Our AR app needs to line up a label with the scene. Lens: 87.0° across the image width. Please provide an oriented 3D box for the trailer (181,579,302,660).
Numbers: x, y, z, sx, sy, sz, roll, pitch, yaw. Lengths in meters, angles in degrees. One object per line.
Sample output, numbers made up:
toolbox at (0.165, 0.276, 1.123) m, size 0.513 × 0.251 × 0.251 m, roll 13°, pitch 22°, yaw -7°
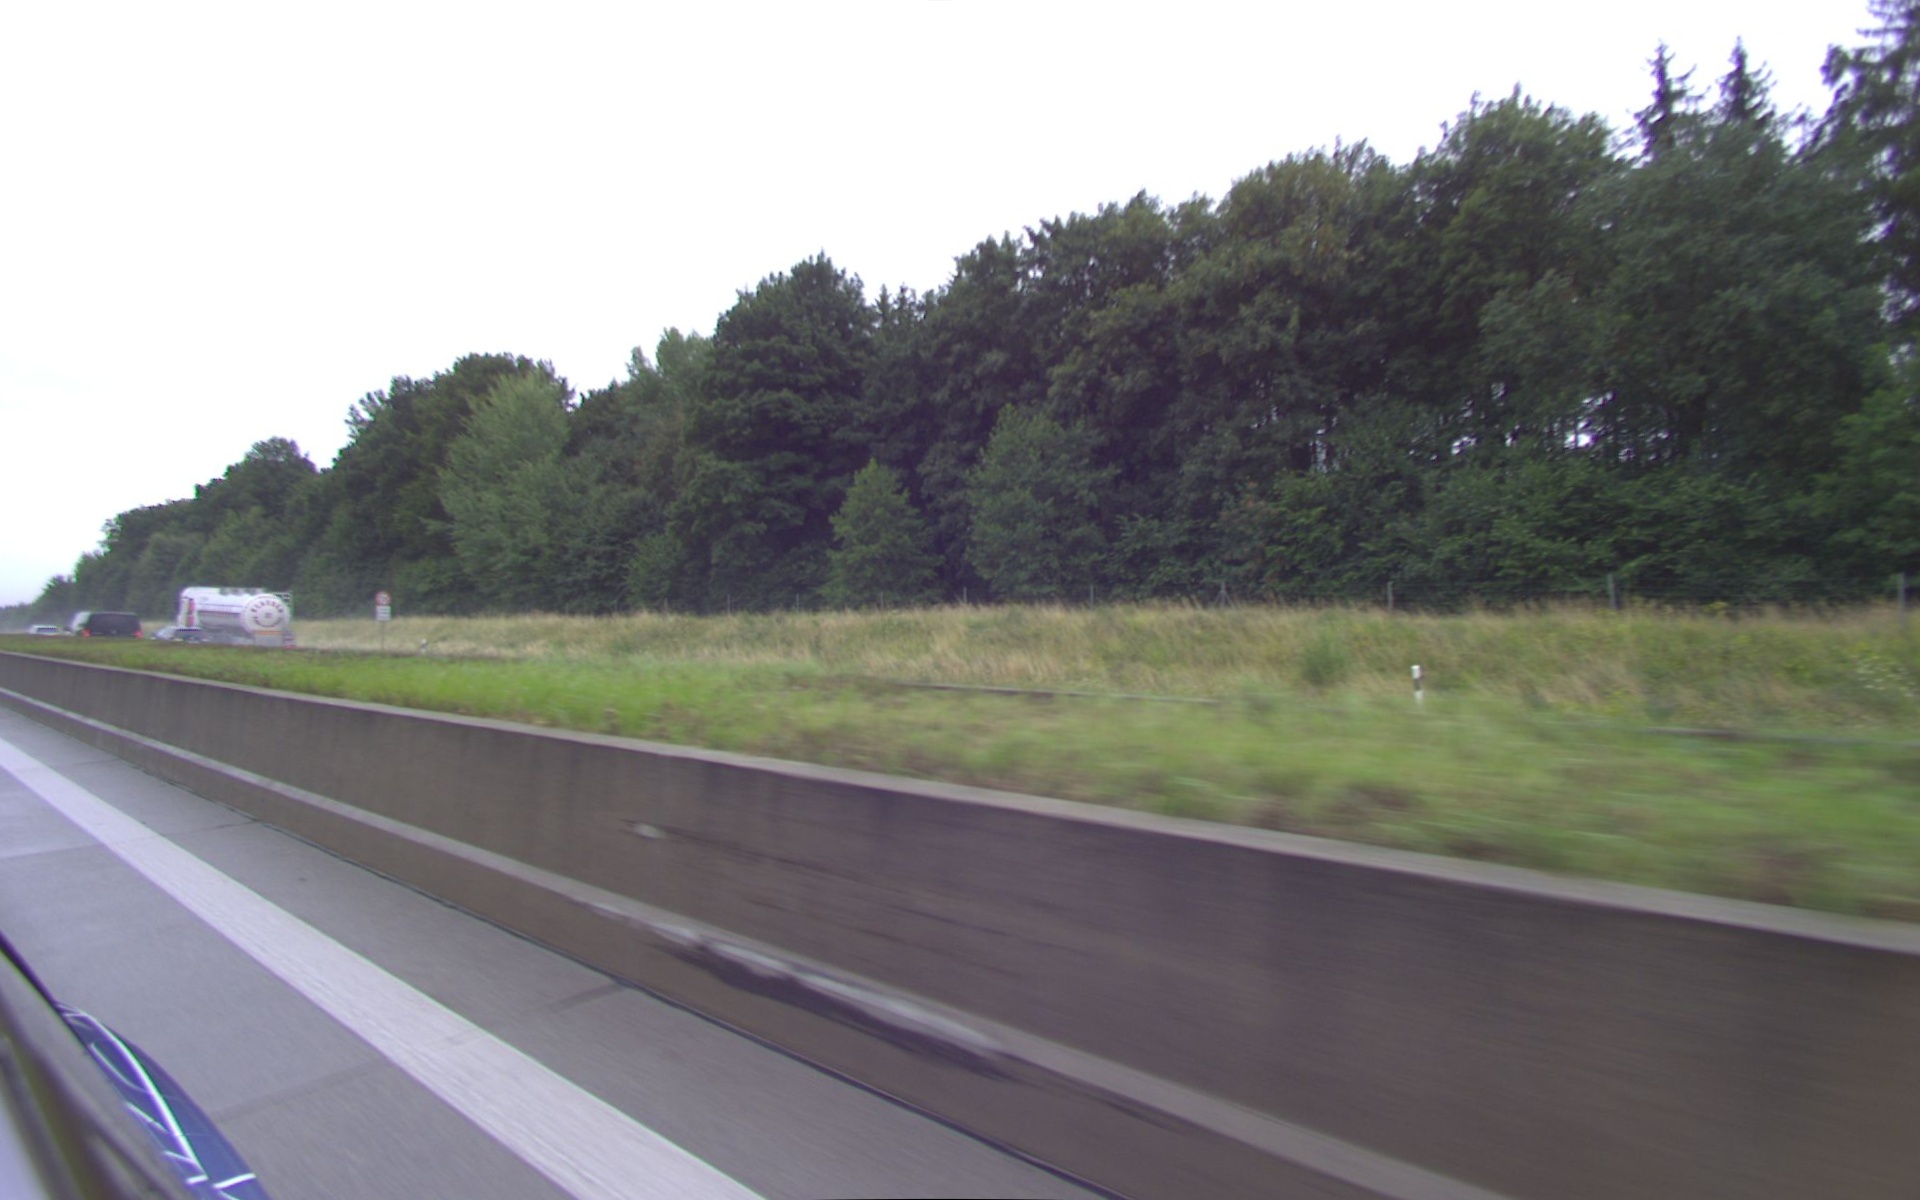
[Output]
trailer at (-38.909, 1.125, 54.601) m, size 11.128 × 4.002 × 2.637 m, roll -2°, pitch -3°, yaw 41°

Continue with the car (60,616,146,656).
car at (-34.938, 1.439, 41.206) m, size 4.557 × 1.555 × 1.973 m, roll -1°, pitch -2°, yaw 41°

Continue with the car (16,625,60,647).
car at (-70.757, 2.722, 77.662) m, size 4.558 × 1.640 × 1.972 m, roll -1°, pitch -2°, yaw 41°

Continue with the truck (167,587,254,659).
truck at (-43.183, 1.348, 58.258) m, size 6.432 × 3.905 × 2.637 m, roll -1°, pitch -2°, yaw 41°

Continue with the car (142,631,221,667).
car at (-35.685, 2.189, 46.375) m, size 4.557 × 1.555 × 1.973 m, roll -1°, pitch -2°, yaw 41°
